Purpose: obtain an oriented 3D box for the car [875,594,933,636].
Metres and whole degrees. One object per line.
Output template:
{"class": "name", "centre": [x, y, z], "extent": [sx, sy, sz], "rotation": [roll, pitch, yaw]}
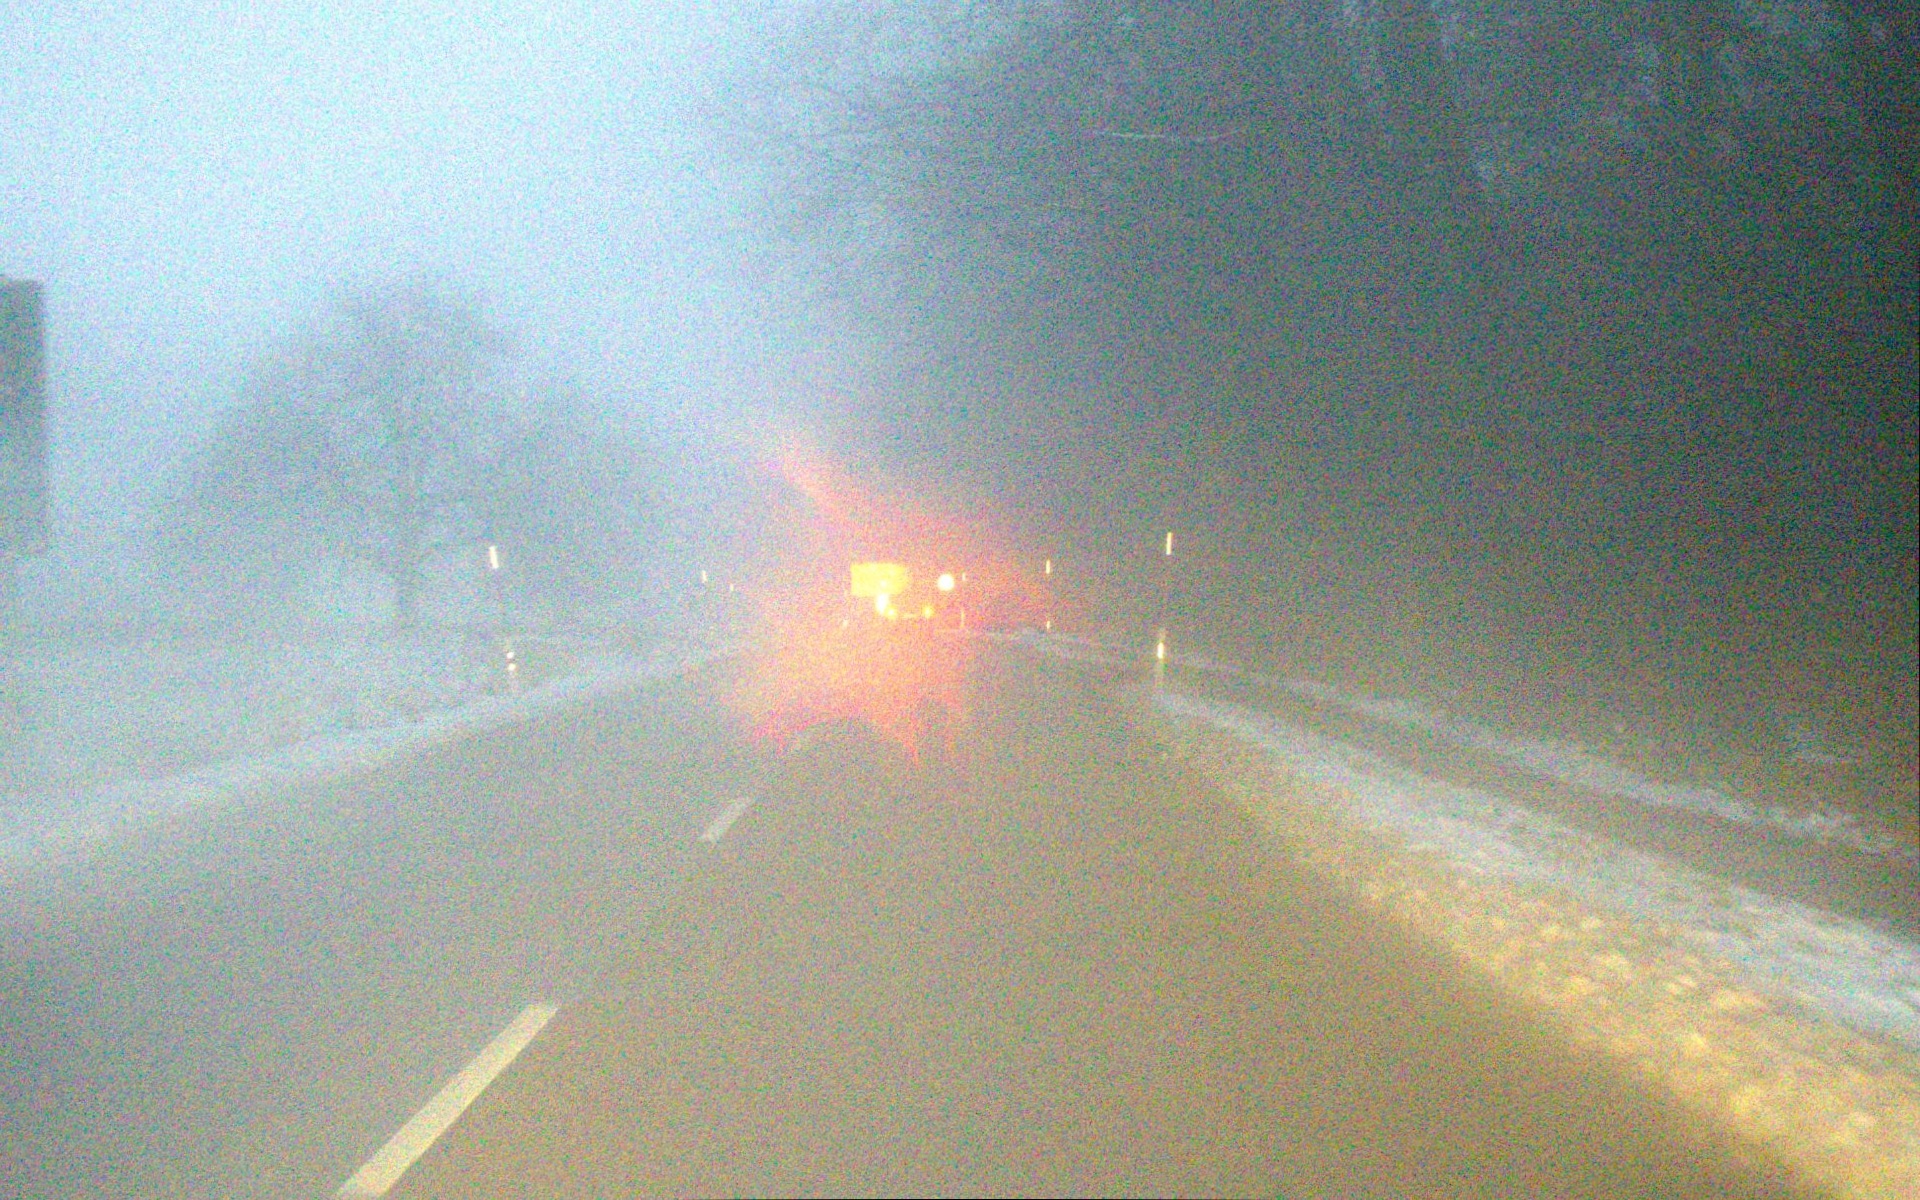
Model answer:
{"class": "car", "centre": [-2.000, 0.540, 122.096], "extent": [1.993, 1.415, 4.000], "rotation": [-2, 0, -2]}
